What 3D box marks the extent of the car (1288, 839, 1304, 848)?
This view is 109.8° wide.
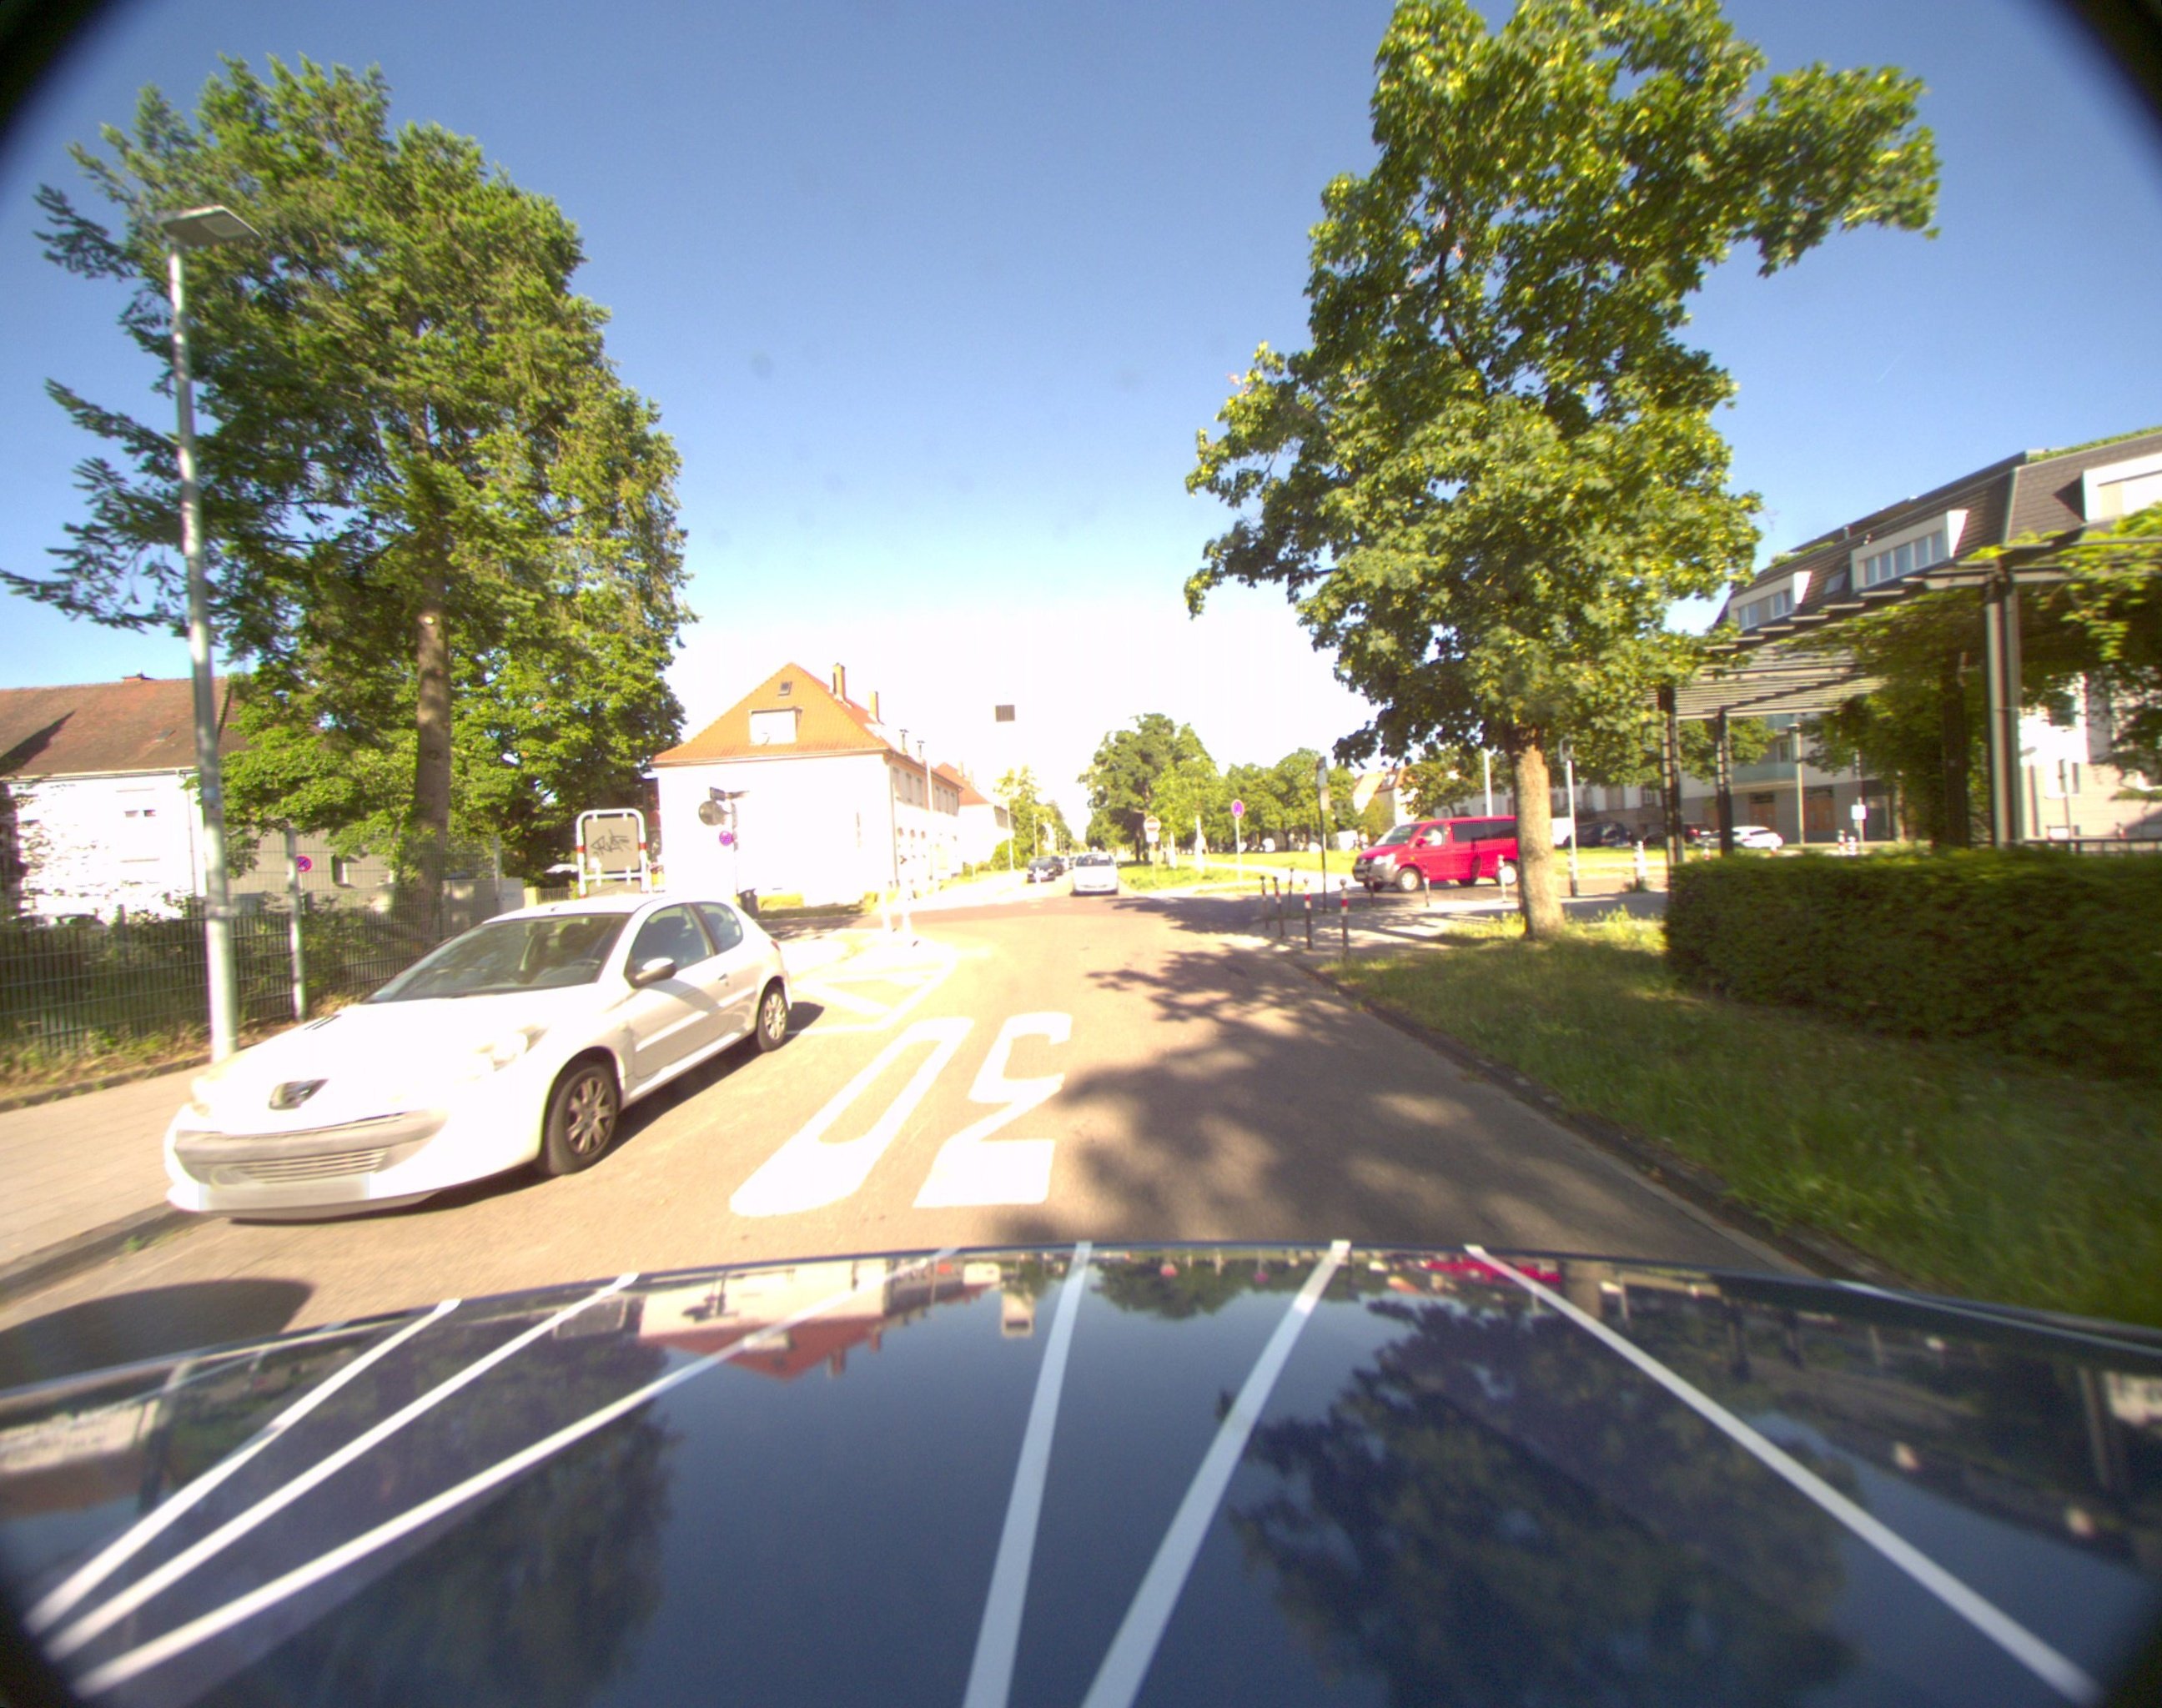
[{"bbox_3d":[41.088,-1.926,145.136,1.799,1.603,4.405,-2,1,1],"label":"car"}]

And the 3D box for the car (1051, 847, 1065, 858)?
[{"bbox_3d":[-3.323,-0.186,111.833,1.799,1.529,4.001,-3,-1,1],"label":"car"}]

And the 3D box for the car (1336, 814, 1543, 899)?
[{"bbox_3d":[10.003,0.041,21.389,4.844,2.001,2.092,-3,1,-8],"label":"car"}]

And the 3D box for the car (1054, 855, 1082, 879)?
[{"bbox_3d":[-0.873,0.944,53.844,1.799,1.529,4.001,-3,-1,1],"label":"car"}]

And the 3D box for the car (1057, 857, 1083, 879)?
[{"bbox_3d":[-0.827,1.082,58.898,1.799,1.529,4.001,-3,-1,1],"label":"car"}]

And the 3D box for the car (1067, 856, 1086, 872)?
[{"bbox_3d":[-0.427,1.027,79.394,1.799,1.529,4.001,-3,-1,1],"label":"car"}]

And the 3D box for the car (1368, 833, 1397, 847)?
[{"bbox_3d":[35.054,-1.584,88.505,1.799,1.501,3.999,-2,1,1],"label":"car"}]

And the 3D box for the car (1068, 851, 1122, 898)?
[{"bbox_3d":[0.507,0.738,28.480,1.799,1.524,4.001,-3,-1,1],"label":"car"}]

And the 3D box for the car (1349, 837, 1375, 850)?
[{"bbox_3d":[35.469,-1.354,96.108,1.799,1.501,3.999,-2,1,1],"label":"car"}]

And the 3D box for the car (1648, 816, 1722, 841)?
[{"bbox_3d":[40.466,-1.695,51.000,1.799,1.501,3.999,-2,1,1],"label":"car"}]

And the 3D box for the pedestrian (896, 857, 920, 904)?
[{"bbox_3d":[-6.303,0.965,27.725,0.650,1.658,0.650,-2,3,-1],"label":"pedestrian"}]

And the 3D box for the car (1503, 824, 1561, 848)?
[{"bbox_3d":[34.747,-1.378,58.668,2.057,1.683,4.406,-2,1,4],"label":"car"}]

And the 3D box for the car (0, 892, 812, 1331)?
[{"bbox_3d":[-3.489,1.155,5.142,1.676,1.414,4.134,-5,1,1],"label":"car"}]

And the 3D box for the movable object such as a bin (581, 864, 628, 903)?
[{"bbox_3d":[-20.899,1.292,33.355,1.174,1.599,1.194,-4,1,1],"label":"movable object such as a bin"}]

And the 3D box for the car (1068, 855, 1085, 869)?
[{"bbox_3d":[-0.525,0.922,89.455,1.799,1.529,4.001,-3,-1,1],"label":"car"}]

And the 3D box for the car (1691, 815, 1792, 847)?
[{"bbox_3d":[34.495,-1.167,39.832,1.799,1.501,3.999,-2,1,1],"label":"car"}]

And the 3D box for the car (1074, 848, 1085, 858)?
[{"bbox_3d":[-0.233,-0.121,129.414,1.799,1.529,4.001,-3,-1,1],"label":"car"}]

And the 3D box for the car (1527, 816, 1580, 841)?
[{"bbox_3d":[40.721,-2.182,65.596,1.941,2.017,4.406,-2,1,3],"label":"car"}]

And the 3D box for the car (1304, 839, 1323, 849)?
[{"bbox_3d":[36.036,-1.586,117.789,1.799,1.501,3.999,-2,1,1],"label":"car"}]

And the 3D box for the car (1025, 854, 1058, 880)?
[{"bbox_3d":[-2.475,0.819,48.799,1.799,1.529,4.001,-3,-1,1],"label":"car"}]

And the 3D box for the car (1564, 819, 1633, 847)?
[{"bbox_3d":[34.356,-1.369,50.575,1.799,1.683,4.132,-2,1,1],"label":"car"}]

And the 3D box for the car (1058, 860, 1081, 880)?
[{"bbox_3d":[-0.928,1.320,64.715,1.799,1.529,4.001,-3,-1,1],"label":"car"}]
